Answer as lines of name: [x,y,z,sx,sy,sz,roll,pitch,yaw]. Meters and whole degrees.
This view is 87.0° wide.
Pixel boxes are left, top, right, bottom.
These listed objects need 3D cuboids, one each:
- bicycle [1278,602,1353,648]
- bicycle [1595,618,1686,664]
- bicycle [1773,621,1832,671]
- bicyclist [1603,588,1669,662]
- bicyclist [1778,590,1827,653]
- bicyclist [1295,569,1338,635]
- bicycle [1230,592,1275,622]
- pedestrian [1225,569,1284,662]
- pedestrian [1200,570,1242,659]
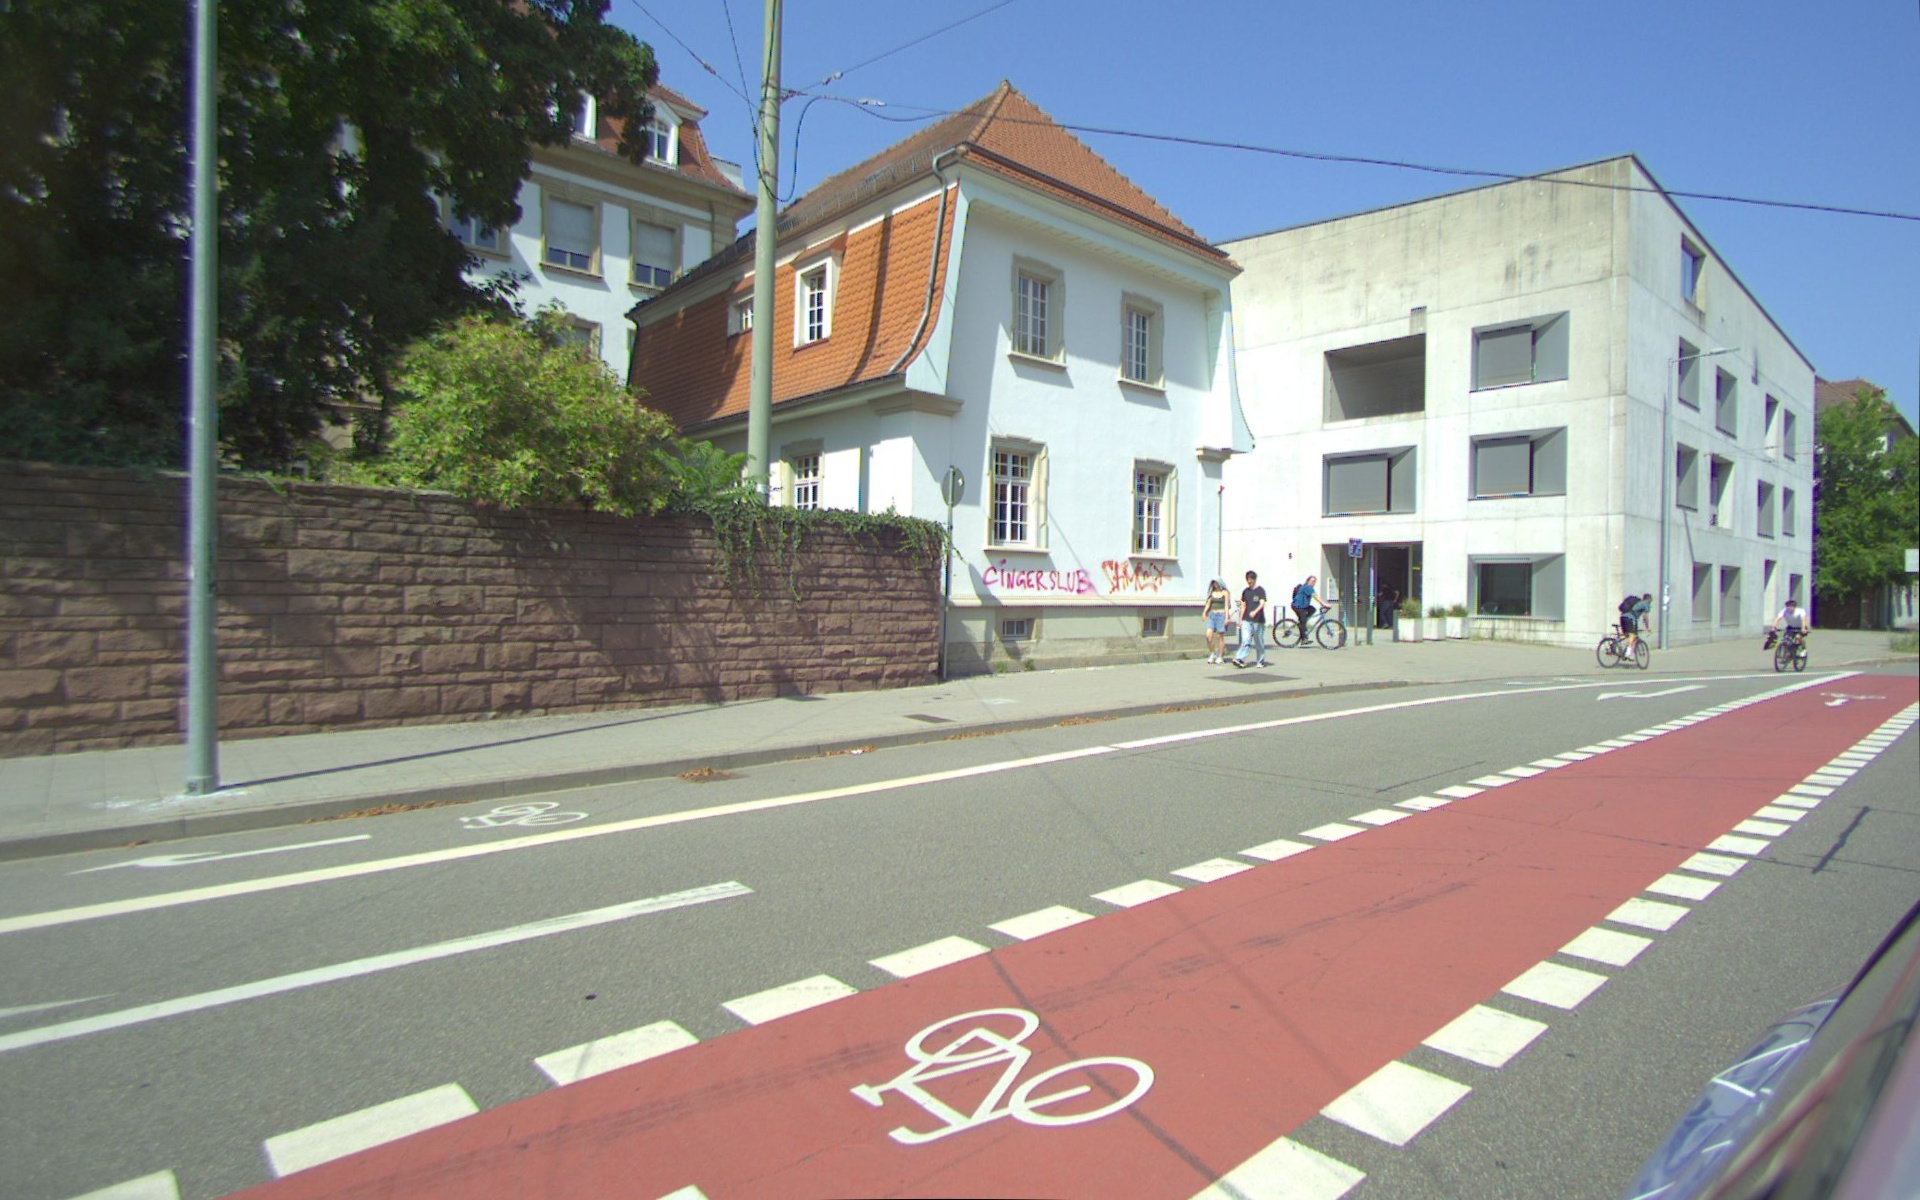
bicycle: [8.717,0.605,24.860,1.689,1.012,0.612,2,1,19]
bicycle: [15.641,0.938,23.274,1.678,1.012,0.616,1,0,-2]
bicycle: [19.649,1.051,23.584,2.194,1.062,0.740,1,0,-42]
bicyclist: [15.568,0.577,23.328,0.974,1.618,0.628,3,2,1]
bicyclist: [19.619,0.487,23.567,0.945,1.429,0.746,1,0,-41]
bicyclist: [8.738,0.031,24.838,0.892,1.558,0.624,3,2,19]
bicycle: [10.180,0.246,35.242,1.653,0.966,0.620,-2,2,-35]
pedestrian: [5.506,0.282,18.932,0.865,1.687,0.728,1,0,-44]
pedestrian: [5.052,0.278,19.575,0.479,1.687,0.619,1,-1,-42]
